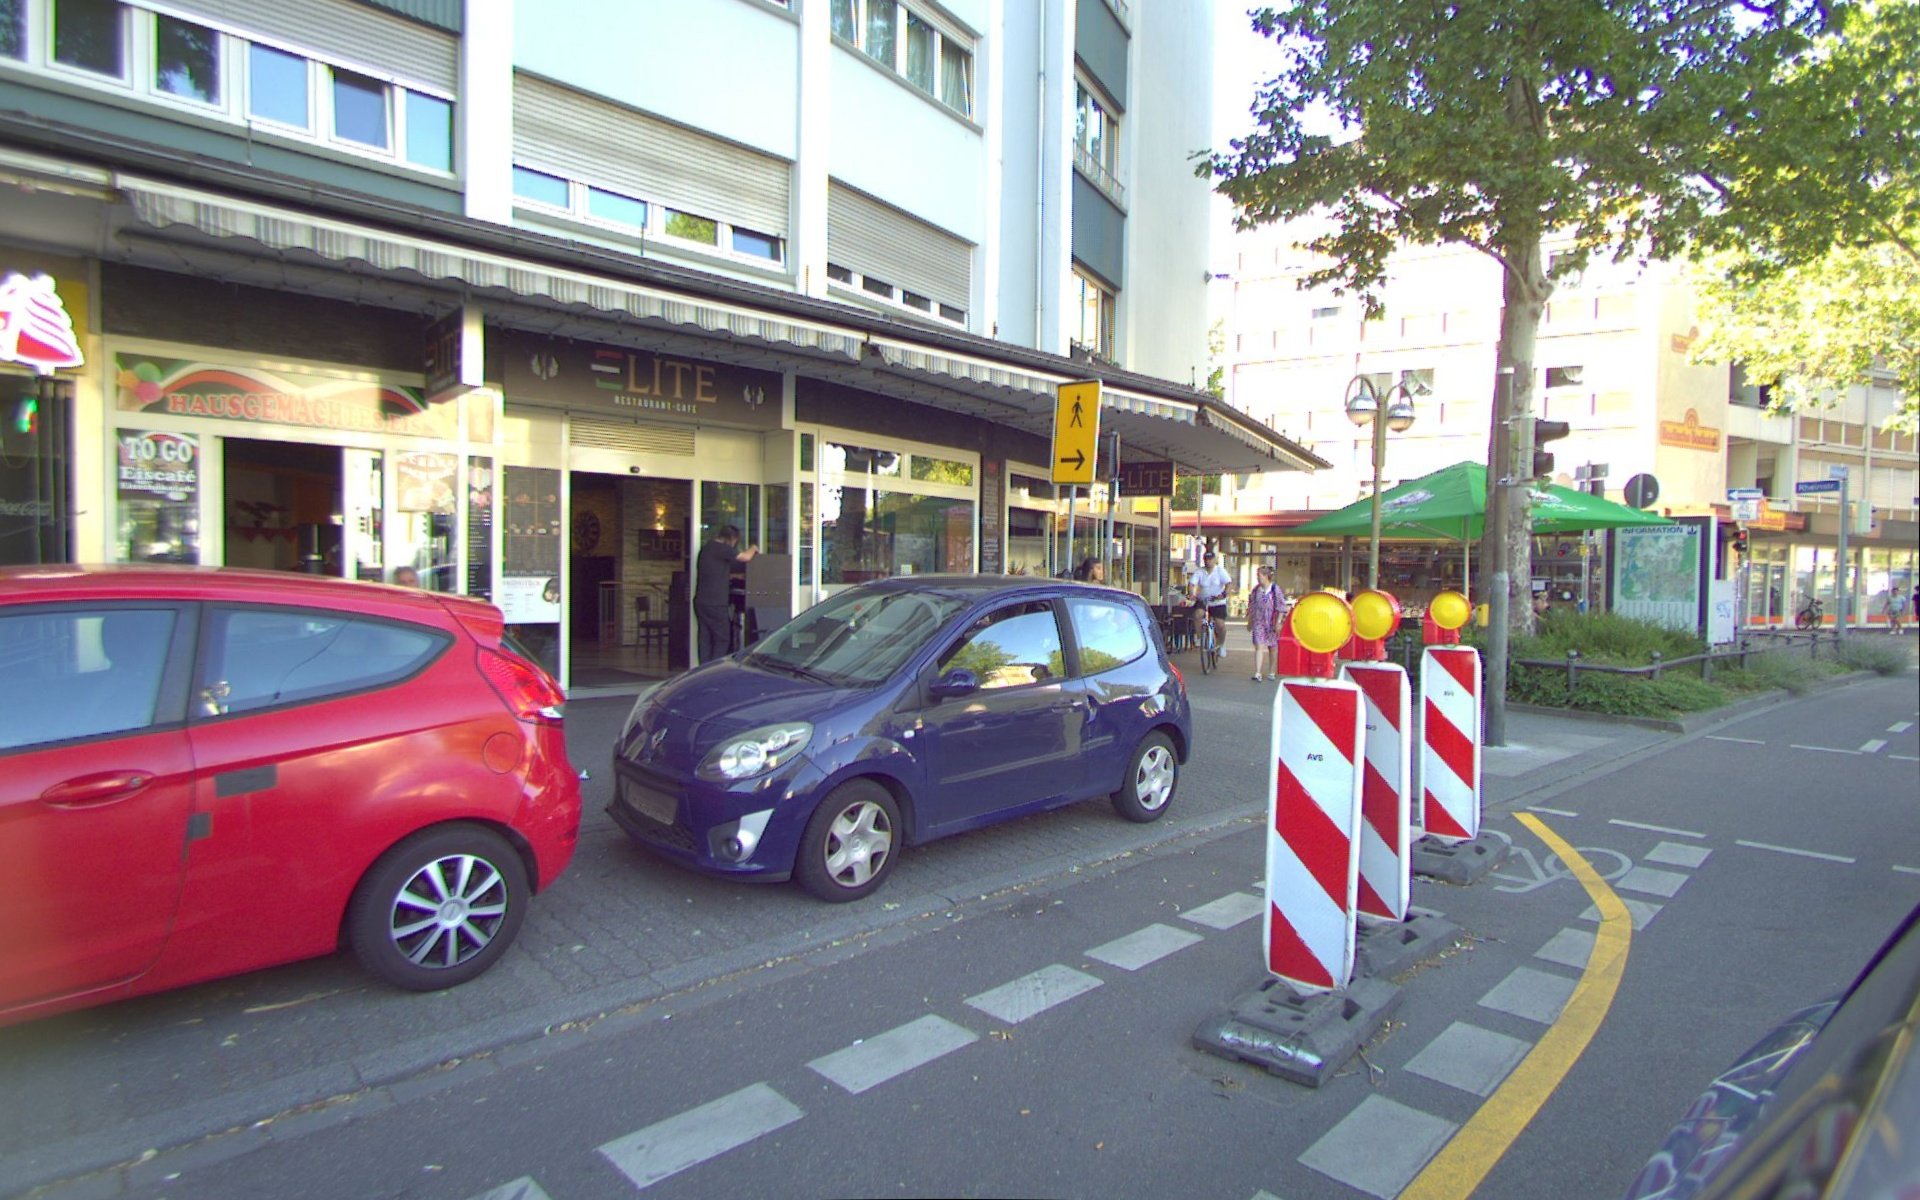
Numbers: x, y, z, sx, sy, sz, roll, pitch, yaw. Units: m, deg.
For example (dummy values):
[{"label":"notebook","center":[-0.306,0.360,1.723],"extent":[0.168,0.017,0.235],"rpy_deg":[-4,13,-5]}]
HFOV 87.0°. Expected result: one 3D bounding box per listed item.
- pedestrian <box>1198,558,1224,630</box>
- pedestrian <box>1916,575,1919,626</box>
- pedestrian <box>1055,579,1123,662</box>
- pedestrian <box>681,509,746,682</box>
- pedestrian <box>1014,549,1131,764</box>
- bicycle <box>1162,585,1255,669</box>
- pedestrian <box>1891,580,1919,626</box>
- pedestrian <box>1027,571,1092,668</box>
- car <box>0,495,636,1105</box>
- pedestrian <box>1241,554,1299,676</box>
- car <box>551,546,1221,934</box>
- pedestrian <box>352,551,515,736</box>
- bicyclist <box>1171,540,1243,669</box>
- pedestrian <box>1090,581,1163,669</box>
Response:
[{"label":"pedestrian","center":[7.070,-0.188,28.490],"extent":[0.639,1.983,0.886],"rpy_deg":[1,1,12]},{"label":"pedestrian","center":[30.650,0.037,31.848],"extent":[0.520,1.605,0.630],"rpy_deg":[0,1,-21]},{"label":"pedestrian","center":[1.957,0.301,15.342],"extent":[0.776,1.207,0.648],"rpy_deg":[0,2,-34]},{"label":"pedestrian","center":[-2.636,-0.061,10.824],"extent":[0.547,1.800,0.395],"rpy_deg":[-1,4,-43]},{"label":"pedestrian","center":[0.930,0.422,8.333],"extent":[0.783,1.667,0.583],"rpy_deg":[-1,2,-42]},{"label":"bicycle","center":[3.779,0.388,15.268],"extent":[0.746,1.143,1.864],"rpy_deg":[5,2,32]},{"label":"pedestrian","center":[30.434,0.084,32.479],"extent":[0.520,1.455,0.630],"rpy_deg":[0,1,-21]},{"label":"pedestrian","center":[1.392,0.262,14.273],"extent":[0.685,1.323,0.793],"rpy_deg":[1,1,-13]},{"label":"car","center":[-3.229,0.475,3.236],"extent":[3.761,1.614,1.784],"rpy_deg":[-1,5,-45]},{"label":"pedestrian","center":[4.330,0.191,14.140],"extent":[0.624,1.657,0.525],"rpy_deg":[2,1,34]},{"label":"car","center":[-0.254,0.513,5.906],"extent":[3.551,1.485,1.769],"rpy_deg":[-1,5,-44]},{"label":"pedestrian","center":[-4.237,0.299,8.129],"extent":[0.937,1.352,1.069],"rpy_deg":[0,2,-41]},{"label":"bicyclist","center":[3.694,0.035,15.105],"extent":[0.748,1.848,0.915],"rpy_deg":[2,3,33]},{"label":"pedestrian","center":[2.376,0.335,14.535],"extent":[0.685,1.207,0.881],"rpy_deg":[0,1,-18]}]
